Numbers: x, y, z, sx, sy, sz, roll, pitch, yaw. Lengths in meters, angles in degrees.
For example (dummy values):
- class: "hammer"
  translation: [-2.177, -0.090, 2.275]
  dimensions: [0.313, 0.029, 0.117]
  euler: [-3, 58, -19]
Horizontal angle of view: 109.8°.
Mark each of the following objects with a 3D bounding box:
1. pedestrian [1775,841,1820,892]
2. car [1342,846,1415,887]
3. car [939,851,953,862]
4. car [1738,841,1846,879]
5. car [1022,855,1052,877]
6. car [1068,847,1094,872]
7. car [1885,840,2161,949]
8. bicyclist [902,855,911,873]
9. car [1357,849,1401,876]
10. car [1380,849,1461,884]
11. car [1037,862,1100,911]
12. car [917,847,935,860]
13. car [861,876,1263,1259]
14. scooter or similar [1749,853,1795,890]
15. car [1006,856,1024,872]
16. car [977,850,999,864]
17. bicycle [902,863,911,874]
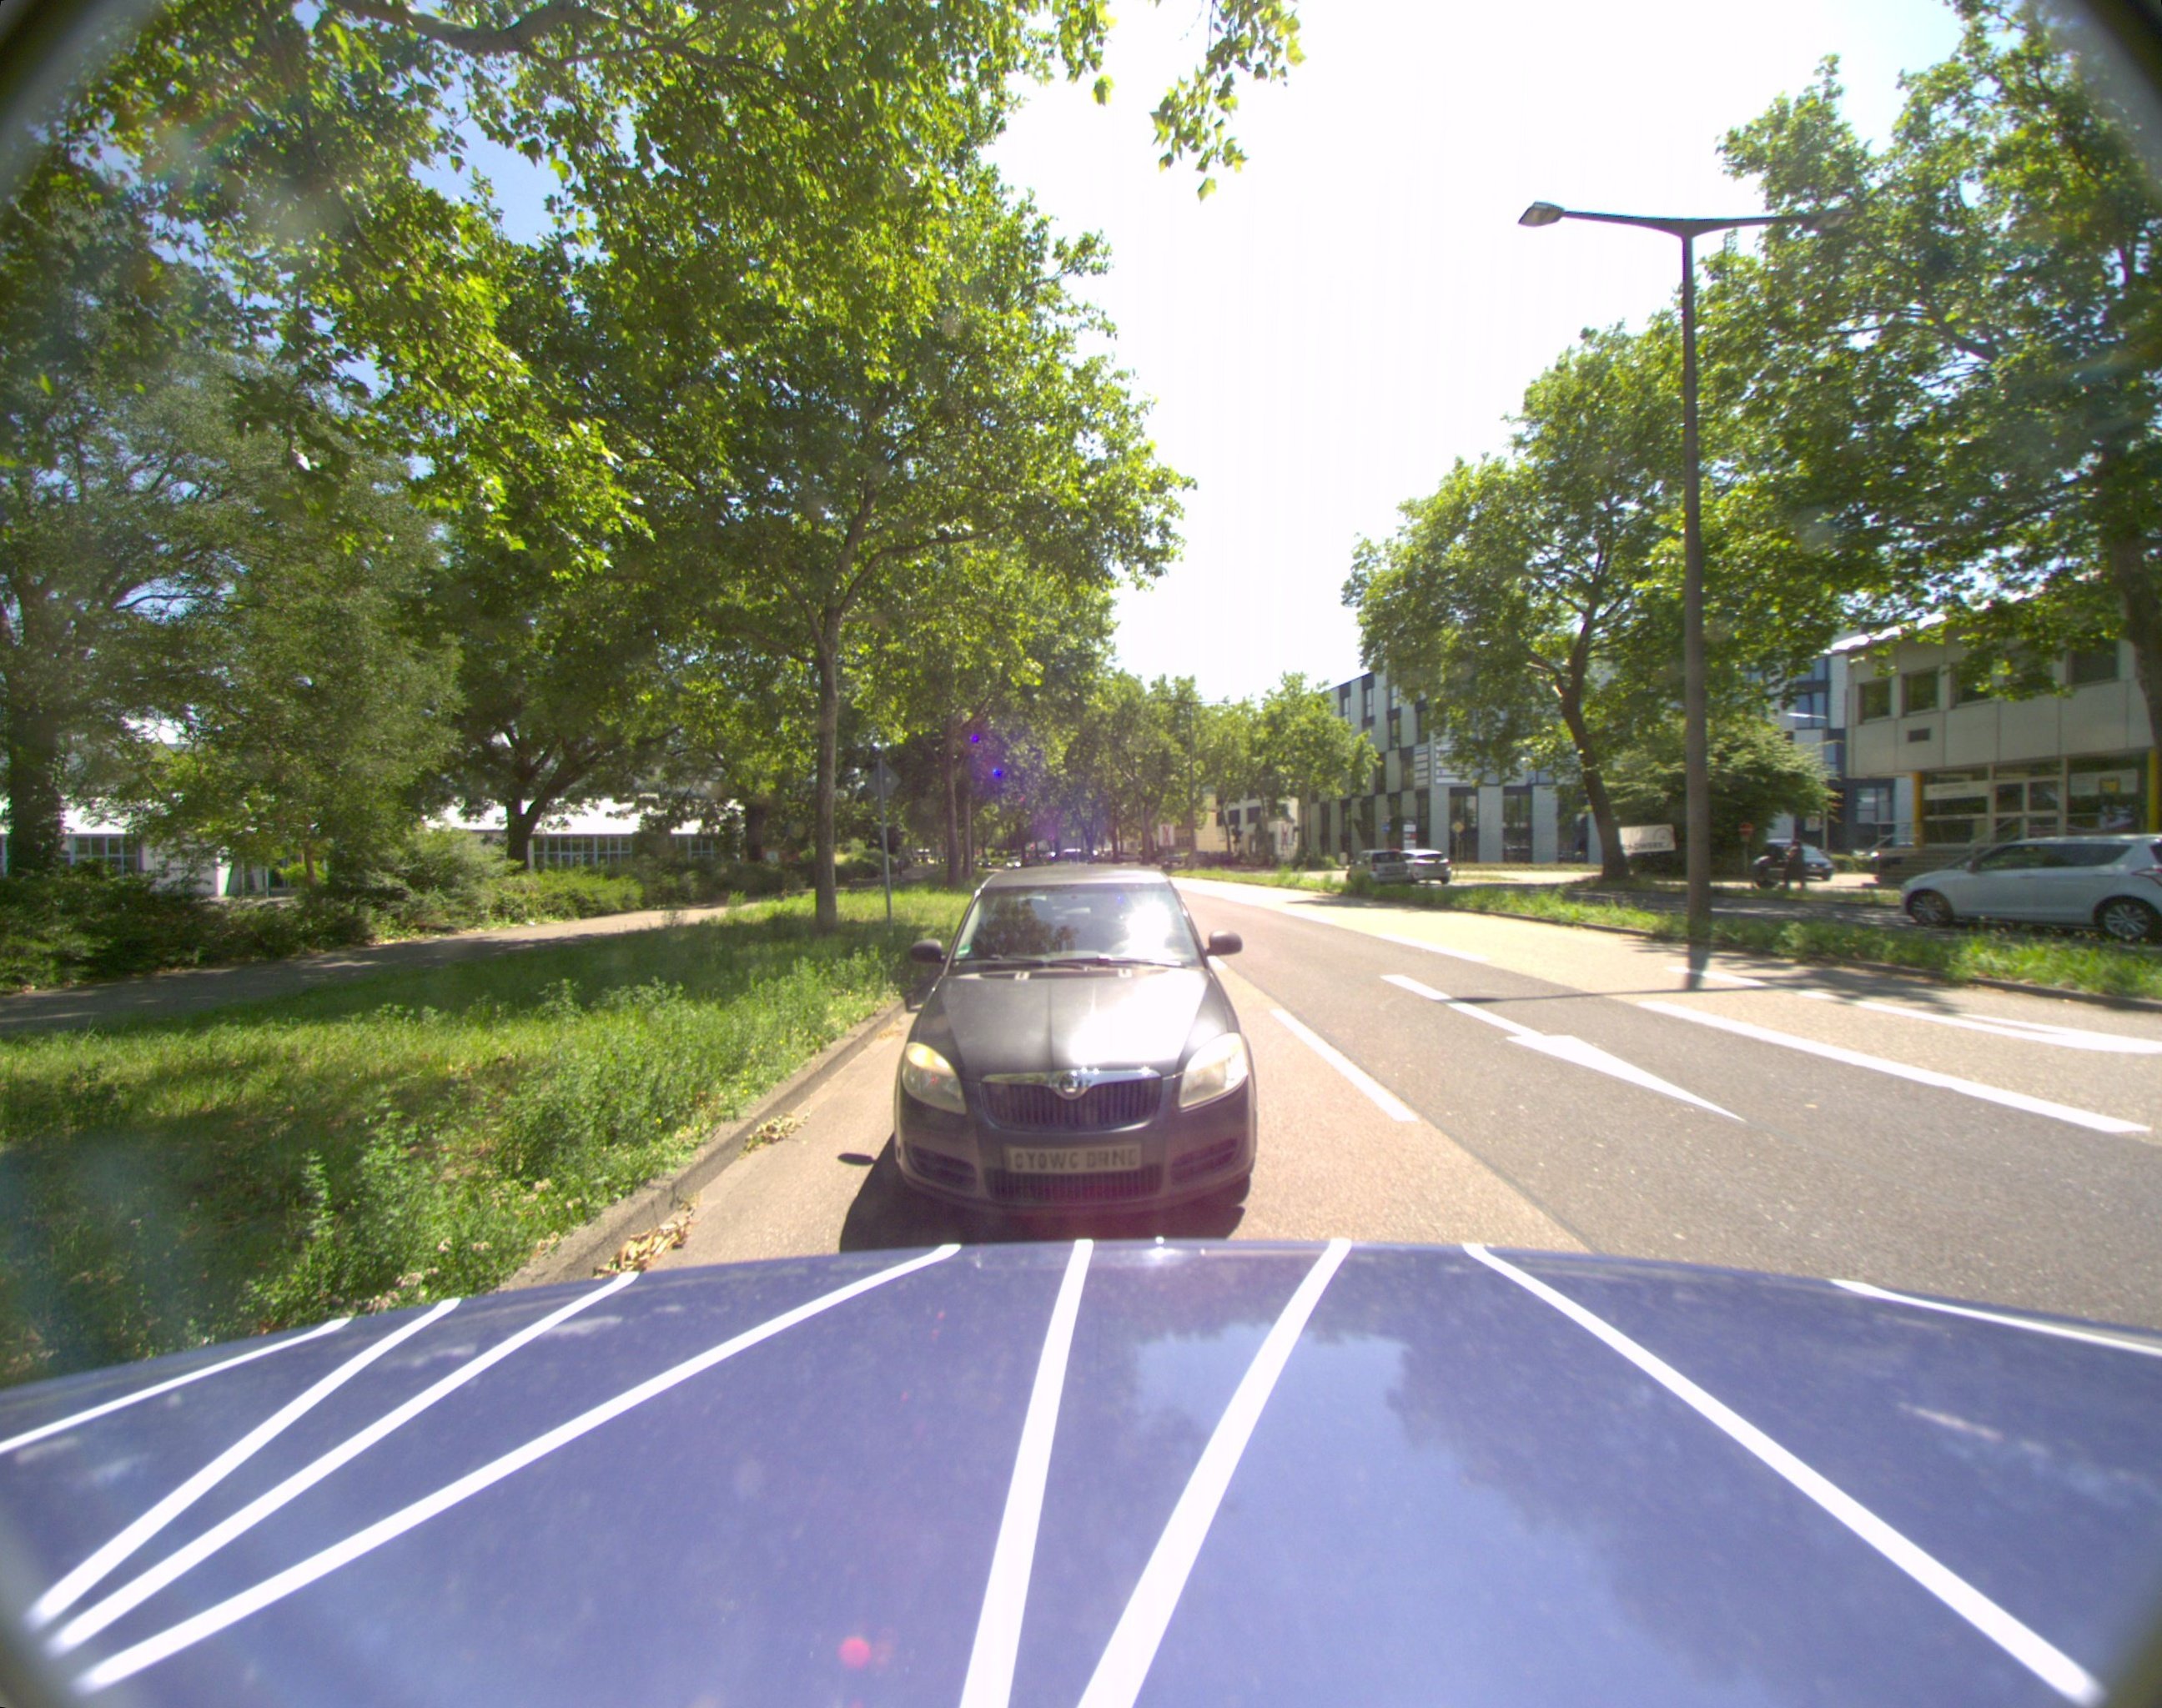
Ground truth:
- class: "pedestrian"
  translation: [22.236, 0.369, 23.605]
  dimensions: [0.643, 1.551, 0.791]
  euler: [-1, 1, -2]
- class: "car"
  translation: [11.622, 0.463, 29.871]
  dimensions: [1.537, 1.519, 2.852]
  euler: [-1, 0, -6]
- class: "car"
  translation: [-23.383, 0.422, 131.365]
  dimensions: [2.001, 1.783, 3.994]
  euler: [-1, 0, -17]
- class: "car"
  translation: [32.822, 0.245, 35.211]
  dimensions: [1.819, 1.638, 3.528]
  euler: [-2, 1, 4]
- class: "car"
  translation: [-3.139, 0.806, 54.595]
  dimensions: [1.878, 1.448, 3.786]
  euler: [-2, 0, 1]
- class: "car"
  translation: [0.020, 0.398, 56.667]
  dimensions: [1.859, 1.745, 4.648]
  euler: [-1, 0, 0]
- class: "car"
  translation: [15.224, 0.523, 11.732]
  dimensions: [1.736, 1.450, 3.673]
  euler: [0, 0, 0]
- class: "bicyclist"
  translation: [-12.923, 0.752, 56.297]
  dimensions: [0.601, 1.331, 0.666]
  euler: [-1, 1, -6]
- class: "car"
  translation: [16.305, 0.440, 41.699]
  dimensions: [1.674, 1.453, 3.533]
  euler: [-1, 0, 12]
- class: "car"
  translation: [14.564, 0.503, 32.813]
  dimensions: [1.756, 1.435, 3.672]
  euler: [-1, 0, -1]
- class: "car"
  translation: [-0.348, 0.956, 23.919]
  dimensions: [1.791, 1.325, 3.742]
  euler: [-2, 0, 1]
- class: "car"
  translation: [-31.281, -0.080, 153.348]
  dimensions: [2.922, 2.639, 6.356]
  euler: [-1, 0, -17]
- class: "car"
  translation: [-0.053, 0.954, 5.117]
  dimensions: [1.654, 1.453, 3.865]
  euler: [-1, 0, 1]
- class: "scooter or similar"
  translation: [22.211, 0.563, 24.443]
  dimensions: [0.680, 1.157, 0.859]
  euler: [-1, 1, -1]
- class: "car"
  translation: [-6.226, 0.938, 71.974]
  dimensions: [1.623, 1.437, 3.649]
  euler: [-1, 0, -6]
- class: "car"
  translation: [-12.111, 0.384, 98.647]
  dimensions: [2.002, 1.871, 3.993]
  euler: [-1, 0, -20]
- class: "bicycle"
  translation: [-12.927, 1.087, 56.351]
  dimensions: [0.465, 0.760, 1.667]
  euler: [-1, 0, -7]
